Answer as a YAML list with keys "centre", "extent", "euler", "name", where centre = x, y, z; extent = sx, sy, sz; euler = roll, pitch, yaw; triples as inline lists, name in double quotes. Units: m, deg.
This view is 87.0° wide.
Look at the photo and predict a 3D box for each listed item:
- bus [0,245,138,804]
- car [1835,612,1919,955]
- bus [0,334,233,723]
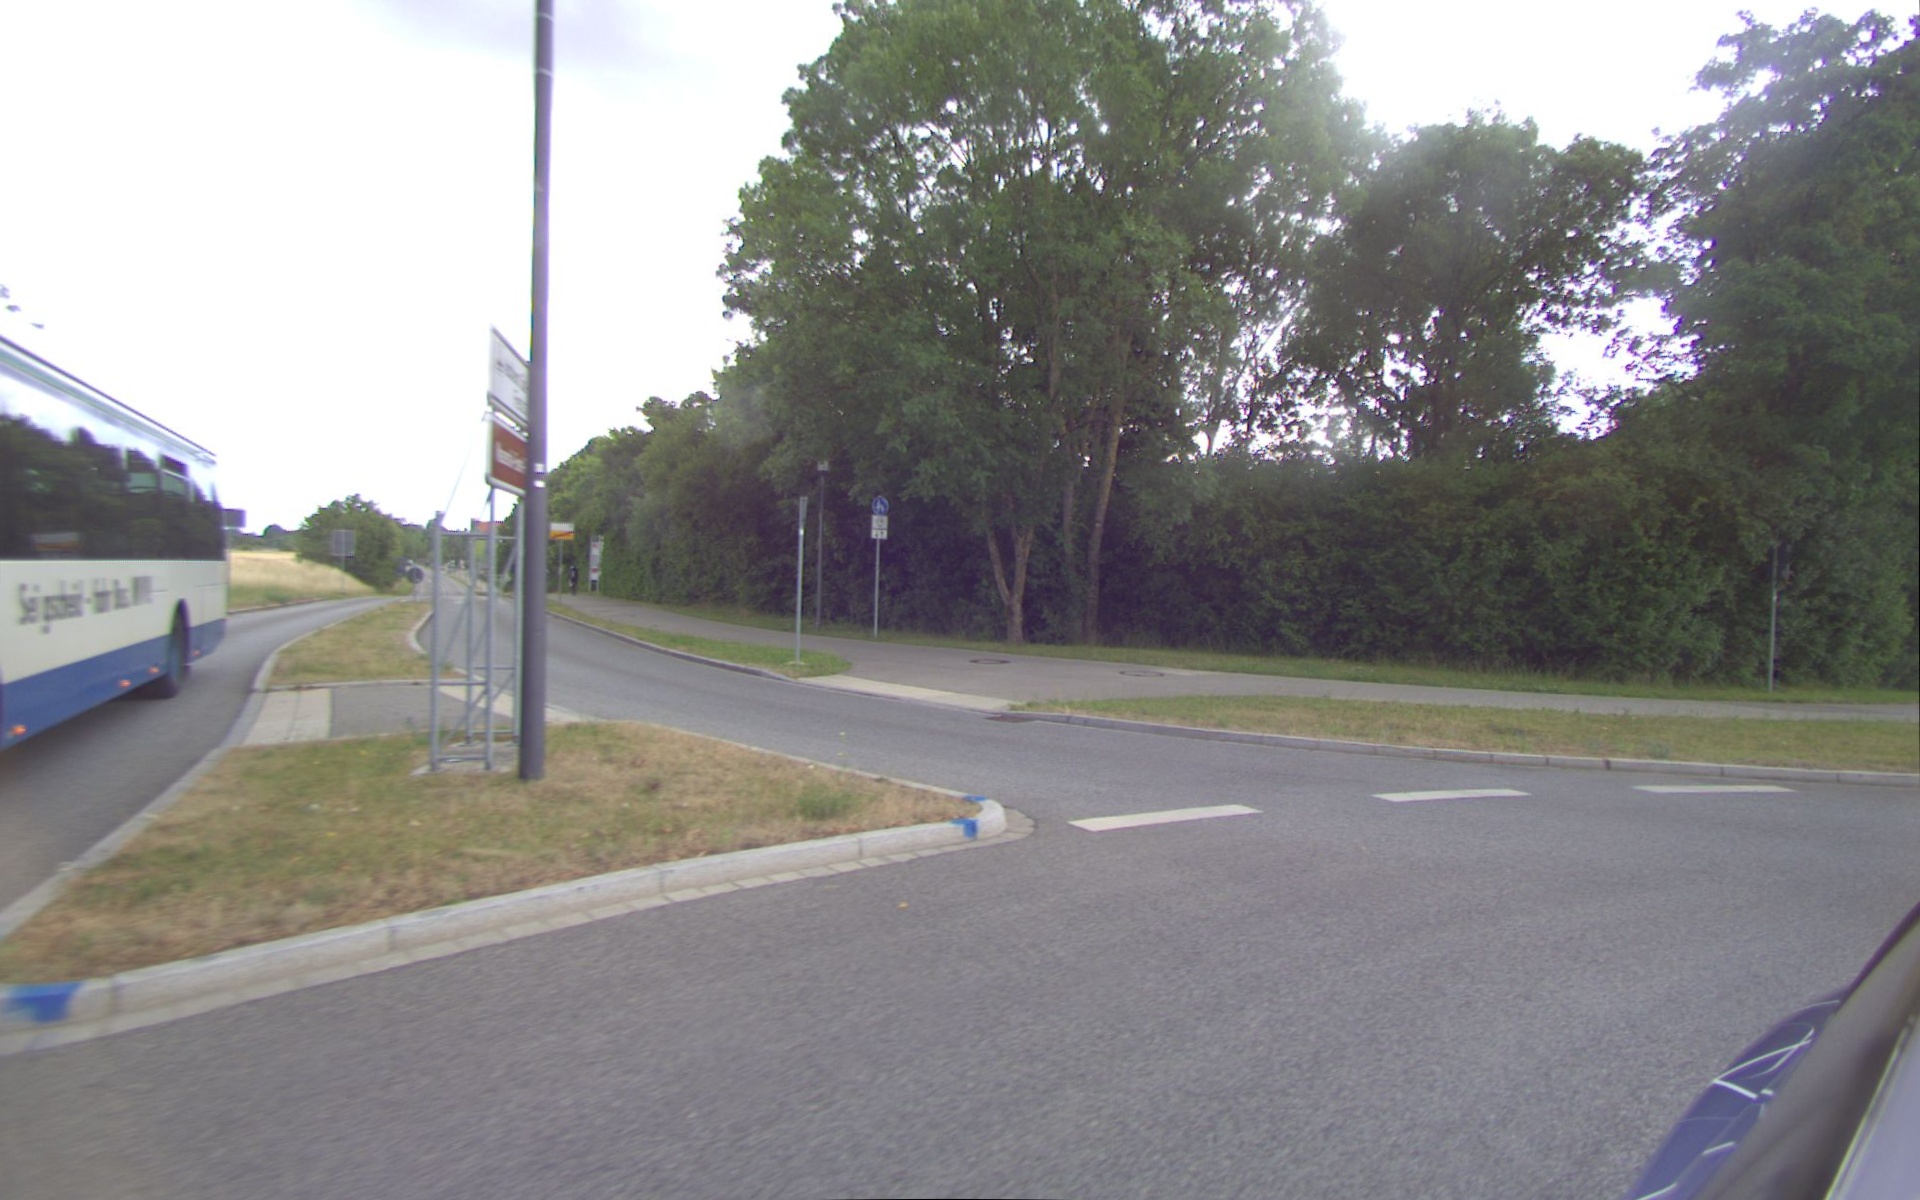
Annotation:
- centre: [-6.845, -0.445, 5.545]
  extent: [2.474, 3.298, 6.559]
  euler: [0, 2, -29]
  name: "bus"
- centre: [6.511, 0.871, 4.558]
  extent: [4.445, 1.483, 1.788]
  euler: [1, 2, -18]
  name: "car"
- centre: [-9.730, -0.698, 10.860]
  extent: [2.474, 3.298, 5.469]
  euler: [0, 2, -29]
  name: "bus"
